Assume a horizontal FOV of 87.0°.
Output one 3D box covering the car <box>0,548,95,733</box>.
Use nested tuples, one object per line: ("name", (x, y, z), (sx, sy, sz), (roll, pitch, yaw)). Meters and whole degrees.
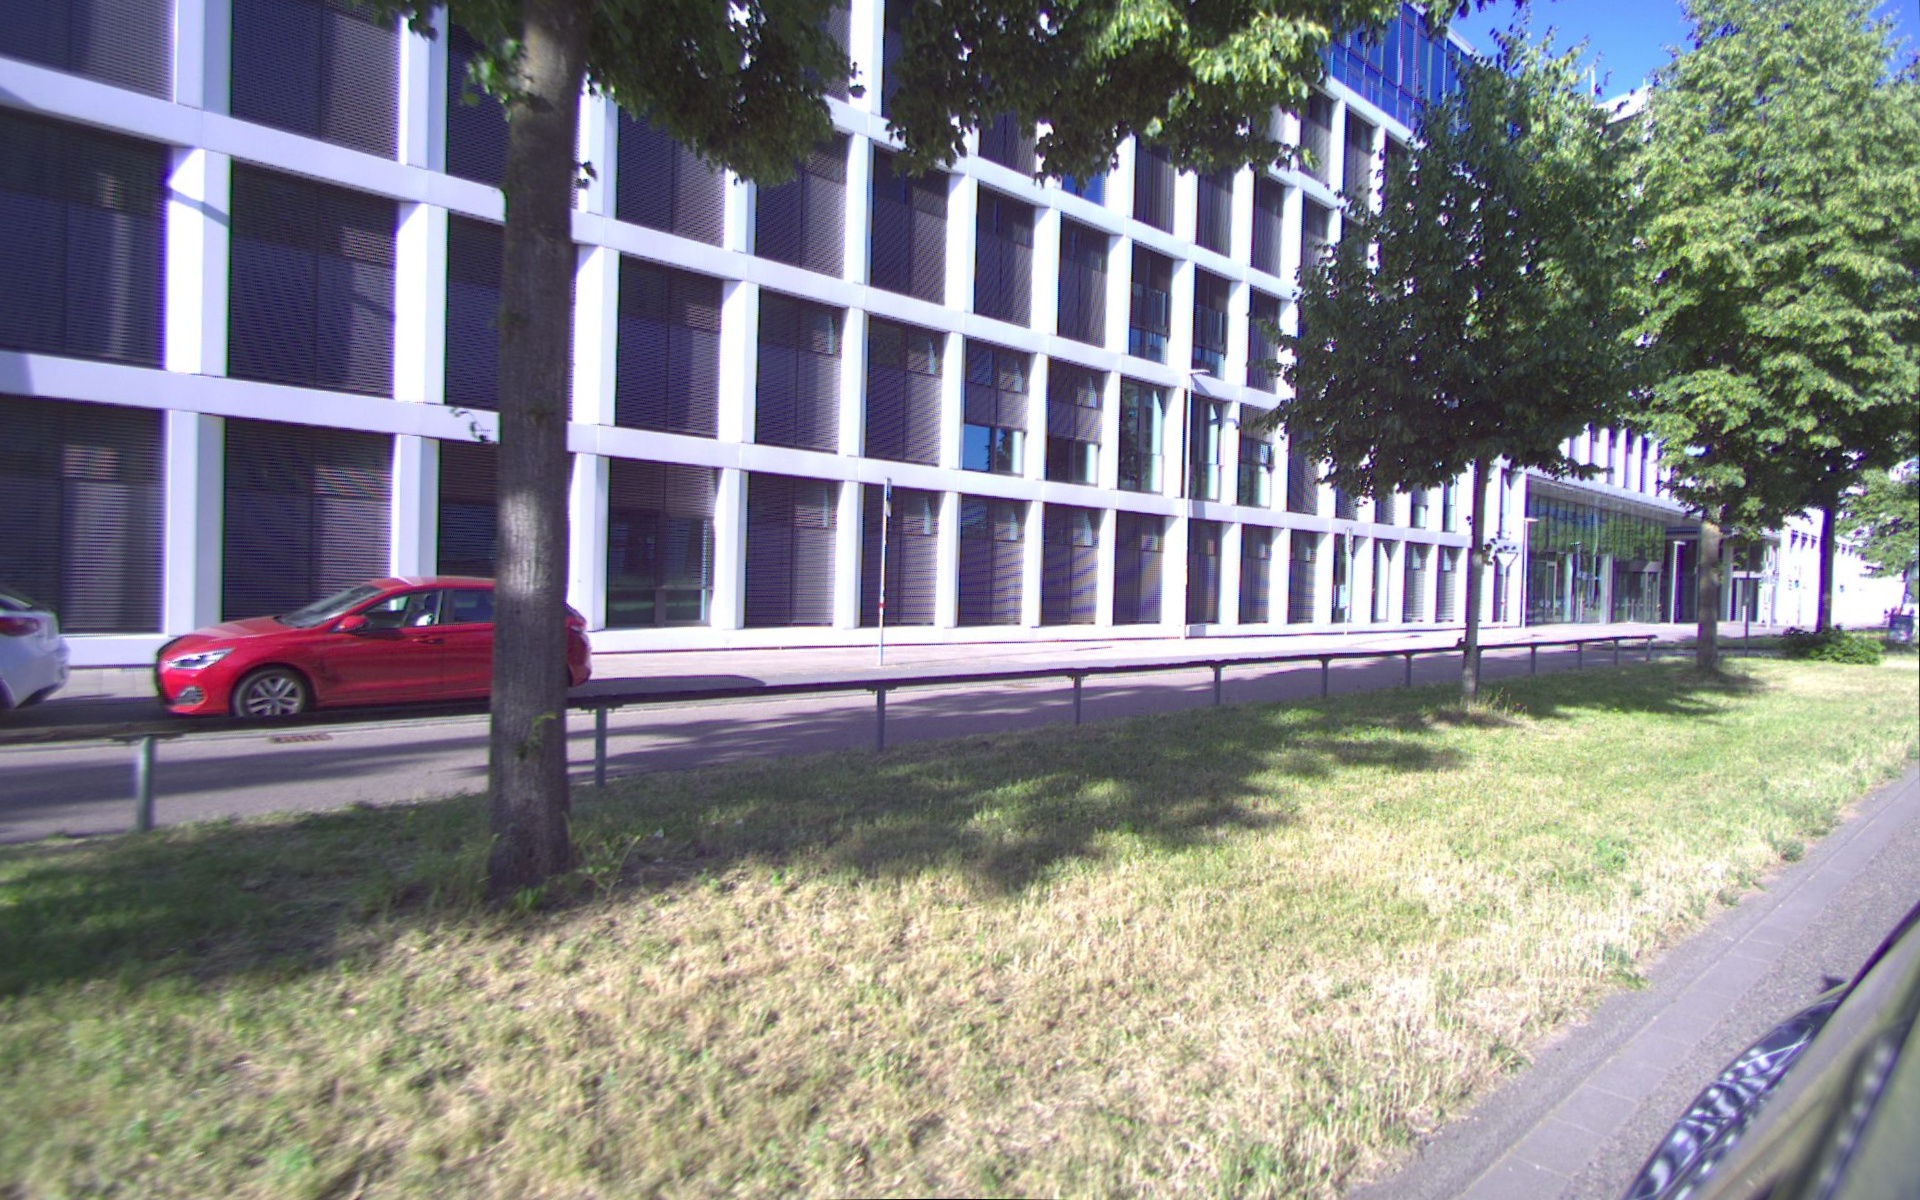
("car", (-10.169, 0.315, 8.486), (4.321, 1.503, 2.000), (0, 5, -38))

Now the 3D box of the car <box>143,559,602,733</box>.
("car", (-6.447, 0.388, 11.341), (4.197, 1.503, 1.870), (0, 4, -40))
